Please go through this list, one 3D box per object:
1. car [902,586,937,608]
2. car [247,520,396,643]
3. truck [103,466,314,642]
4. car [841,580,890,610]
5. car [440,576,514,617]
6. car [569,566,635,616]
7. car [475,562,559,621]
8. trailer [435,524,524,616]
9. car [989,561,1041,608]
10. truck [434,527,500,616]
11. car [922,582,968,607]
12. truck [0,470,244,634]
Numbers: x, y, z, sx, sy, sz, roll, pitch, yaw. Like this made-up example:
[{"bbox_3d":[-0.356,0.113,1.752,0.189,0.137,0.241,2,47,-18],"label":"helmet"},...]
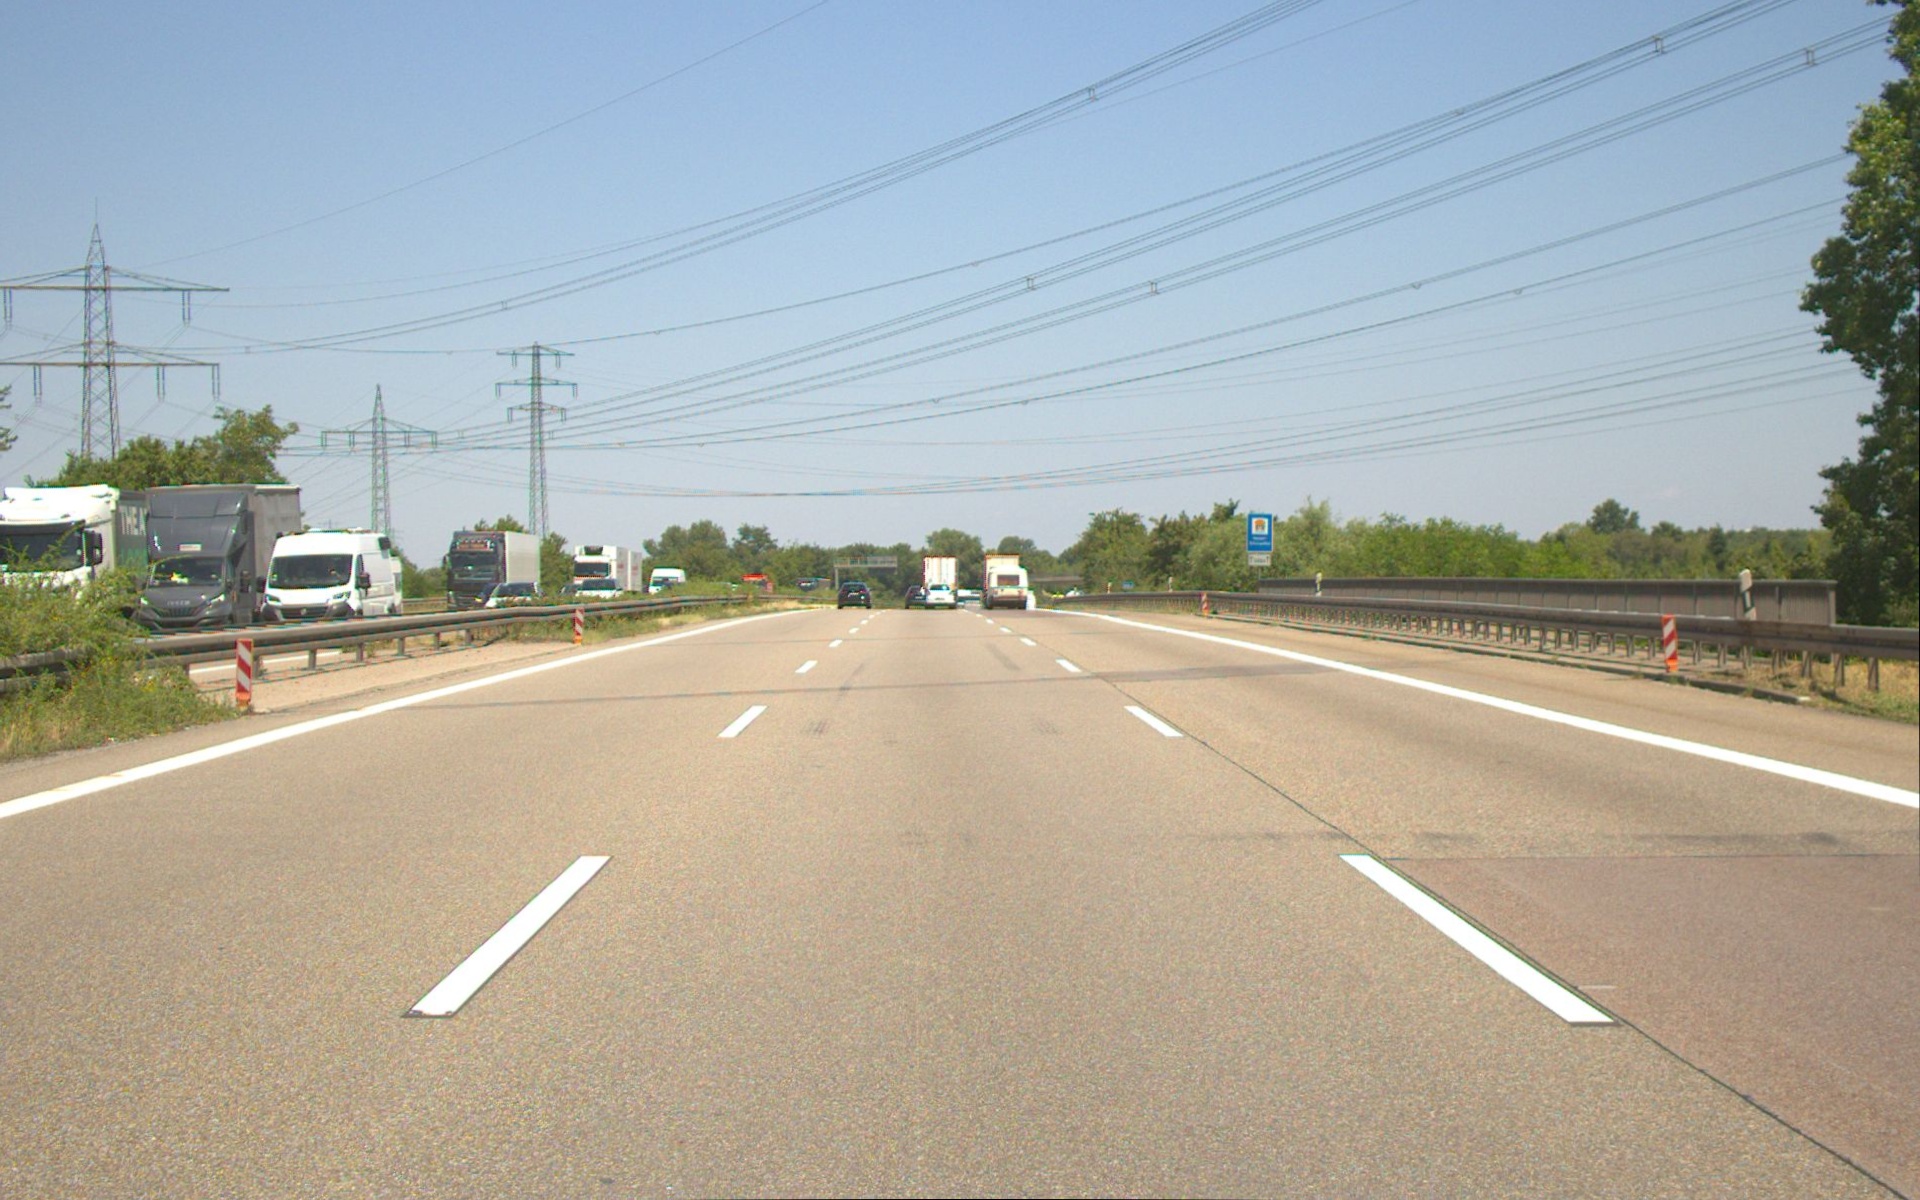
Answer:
[{"bbox_3d":[-3.039,-0.221,256.404,1.828,1.542,4.317,1,0,10],"label":"car"},{"bbox_3d":[-13.951,-0.431,75.464,2.169,2.575,6.039,-1,1,-1],"label":"car"},{"bbox_3d":[-17.692,-1.077,81.587,2.856,3.905,9.495,1,1,0],"label":"truck"},{"bbox_3d":[-5.162,-0.266,188.274,1.828,1.542,4.317,1,0,10],"label":"car"},{"bbox_3d":[-20.731,-0.169,147.709,2.482,1.631,4.751,-2,1,-1],"label":"car"},{"bbox_3d":[-14.970,-0.395,143.966,2.297,2.007,4.557,1,1,-1],"label":"car"},{"bbox_3d":[-14.327,-0.294,111.358,2.074,1.785,5.108,-2,1,-1],"label":"car"},{"bbox_3d":[-23.327,-1.484,167.535,2.423,4.275,14.433,1,1,-1],"label":"trailer"},{"bbox_3d":[2.720,-0.794,172.608,2.442,2.314,5.322,-1,1,-1],"label":"car"},{"bbox_3d":[-23.284,-1.348,162.589,2.423,4.097,4.920,1,0,-1],"label":"truck"},{"bbox_3d":[-0.938,-0.332,213.866,1.829,1.542,4.316,1,0,14],"label":"car"},{"bbox_3d":[-21.839,-1.203,88.357,3.244,3.789,17.013,1,1,0],"label":"truck"}]
